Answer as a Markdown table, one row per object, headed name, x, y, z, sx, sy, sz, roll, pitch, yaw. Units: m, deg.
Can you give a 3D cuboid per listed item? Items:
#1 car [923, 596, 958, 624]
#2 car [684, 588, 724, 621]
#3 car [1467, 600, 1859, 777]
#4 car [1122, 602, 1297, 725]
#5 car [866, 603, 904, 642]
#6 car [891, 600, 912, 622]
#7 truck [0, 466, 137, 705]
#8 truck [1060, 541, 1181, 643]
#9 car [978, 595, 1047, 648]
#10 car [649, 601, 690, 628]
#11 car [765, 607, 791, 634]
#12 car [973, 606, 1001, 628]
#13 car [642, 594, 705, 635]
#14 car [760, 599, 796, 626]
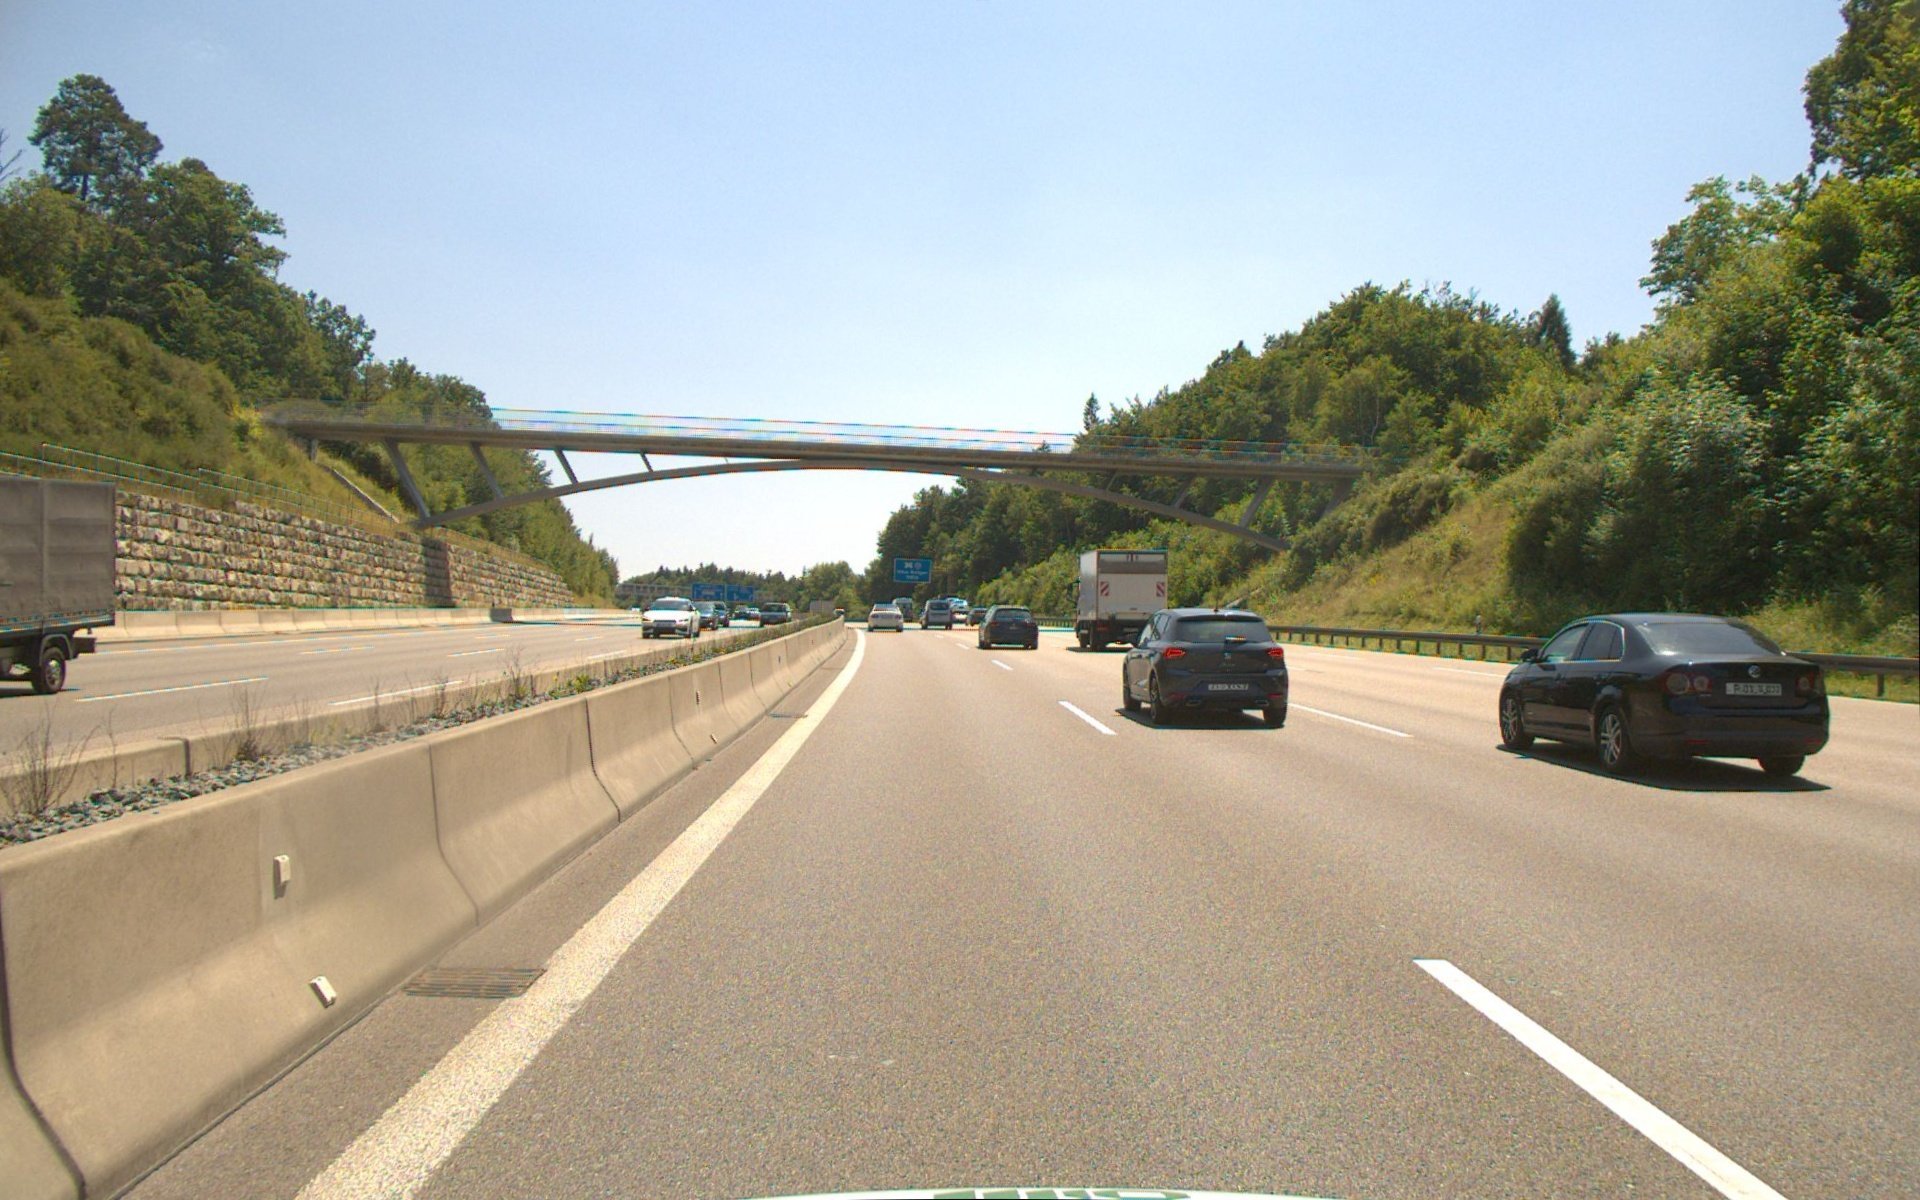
| name | x | y | z | sx | sy | sz | roll | pitch | yaw |
| --- | --- | --- | --- | --- | --- | --- | --- | --- | --- |
| car | -1.295 | 0.642 | 107.137 | 2.061 | 1.775 | 4.684 | 1 | 0 | -4 |
| car | -13.203 | 0.222 | 85.467 | 1.620 | 1.577 | 3.998 | 2 | 1 | -3 |
| car | 6.635 | 0.742 | 16.279 | 1.632 | 1.433 | 4.901 | 1 | 0 | -2 |
| car | 3.223 | 0.770 | 22.024 | 1.673 | 1.458 | 3.999 | 1 | 0 | -1 |
| car | -4.036 | 1.229 | 88.835 | 1.972 | 1.878 | 3.997 | 1 | -3 | -3 |
| car | -6.333 | 1.202 | 179.119 | 2.219 | 2.413 | 4.699 | 1 | -1 | -2 |
| truck | -13.920 | -0.227 | 22.375 | 2.230 | 3.198 | 6.917 | 2 | 0 | -2 |
| truck | 5.357 | -0.257 | 56.540 | 2.926 | 3.222 | 7.569 | 1 | 0 | -4 |
| car | 1.730 | 0.693 | 55.781 | 1.954 | 1.662 | 4.757 | 1 | 0 | -3 |
| car | -18.180 | 0.906 | 103.570 | 1.953 | 1.646 | 3.998 | 1 | 0 | -2 |
| car | -14.703 | 1.674 | 133.561 | 1.955 | 2.049 | 3.995 | 2 | -1 | -6 |
| car | 2.157 | 1.370 | 131.406 | 1.954 | 1.620 | 3.998 | 2 | -1 | -3 |
| car | -11.252 | 0.526 | 65.273 | 1.863 | 1.522 | 4.803 | 1 | 0 | -3 |
| car | -11.274 | 0.772 | 102.727 | 1.953 | 1.646 | 3.998 | 1 | 0 | -2 |
